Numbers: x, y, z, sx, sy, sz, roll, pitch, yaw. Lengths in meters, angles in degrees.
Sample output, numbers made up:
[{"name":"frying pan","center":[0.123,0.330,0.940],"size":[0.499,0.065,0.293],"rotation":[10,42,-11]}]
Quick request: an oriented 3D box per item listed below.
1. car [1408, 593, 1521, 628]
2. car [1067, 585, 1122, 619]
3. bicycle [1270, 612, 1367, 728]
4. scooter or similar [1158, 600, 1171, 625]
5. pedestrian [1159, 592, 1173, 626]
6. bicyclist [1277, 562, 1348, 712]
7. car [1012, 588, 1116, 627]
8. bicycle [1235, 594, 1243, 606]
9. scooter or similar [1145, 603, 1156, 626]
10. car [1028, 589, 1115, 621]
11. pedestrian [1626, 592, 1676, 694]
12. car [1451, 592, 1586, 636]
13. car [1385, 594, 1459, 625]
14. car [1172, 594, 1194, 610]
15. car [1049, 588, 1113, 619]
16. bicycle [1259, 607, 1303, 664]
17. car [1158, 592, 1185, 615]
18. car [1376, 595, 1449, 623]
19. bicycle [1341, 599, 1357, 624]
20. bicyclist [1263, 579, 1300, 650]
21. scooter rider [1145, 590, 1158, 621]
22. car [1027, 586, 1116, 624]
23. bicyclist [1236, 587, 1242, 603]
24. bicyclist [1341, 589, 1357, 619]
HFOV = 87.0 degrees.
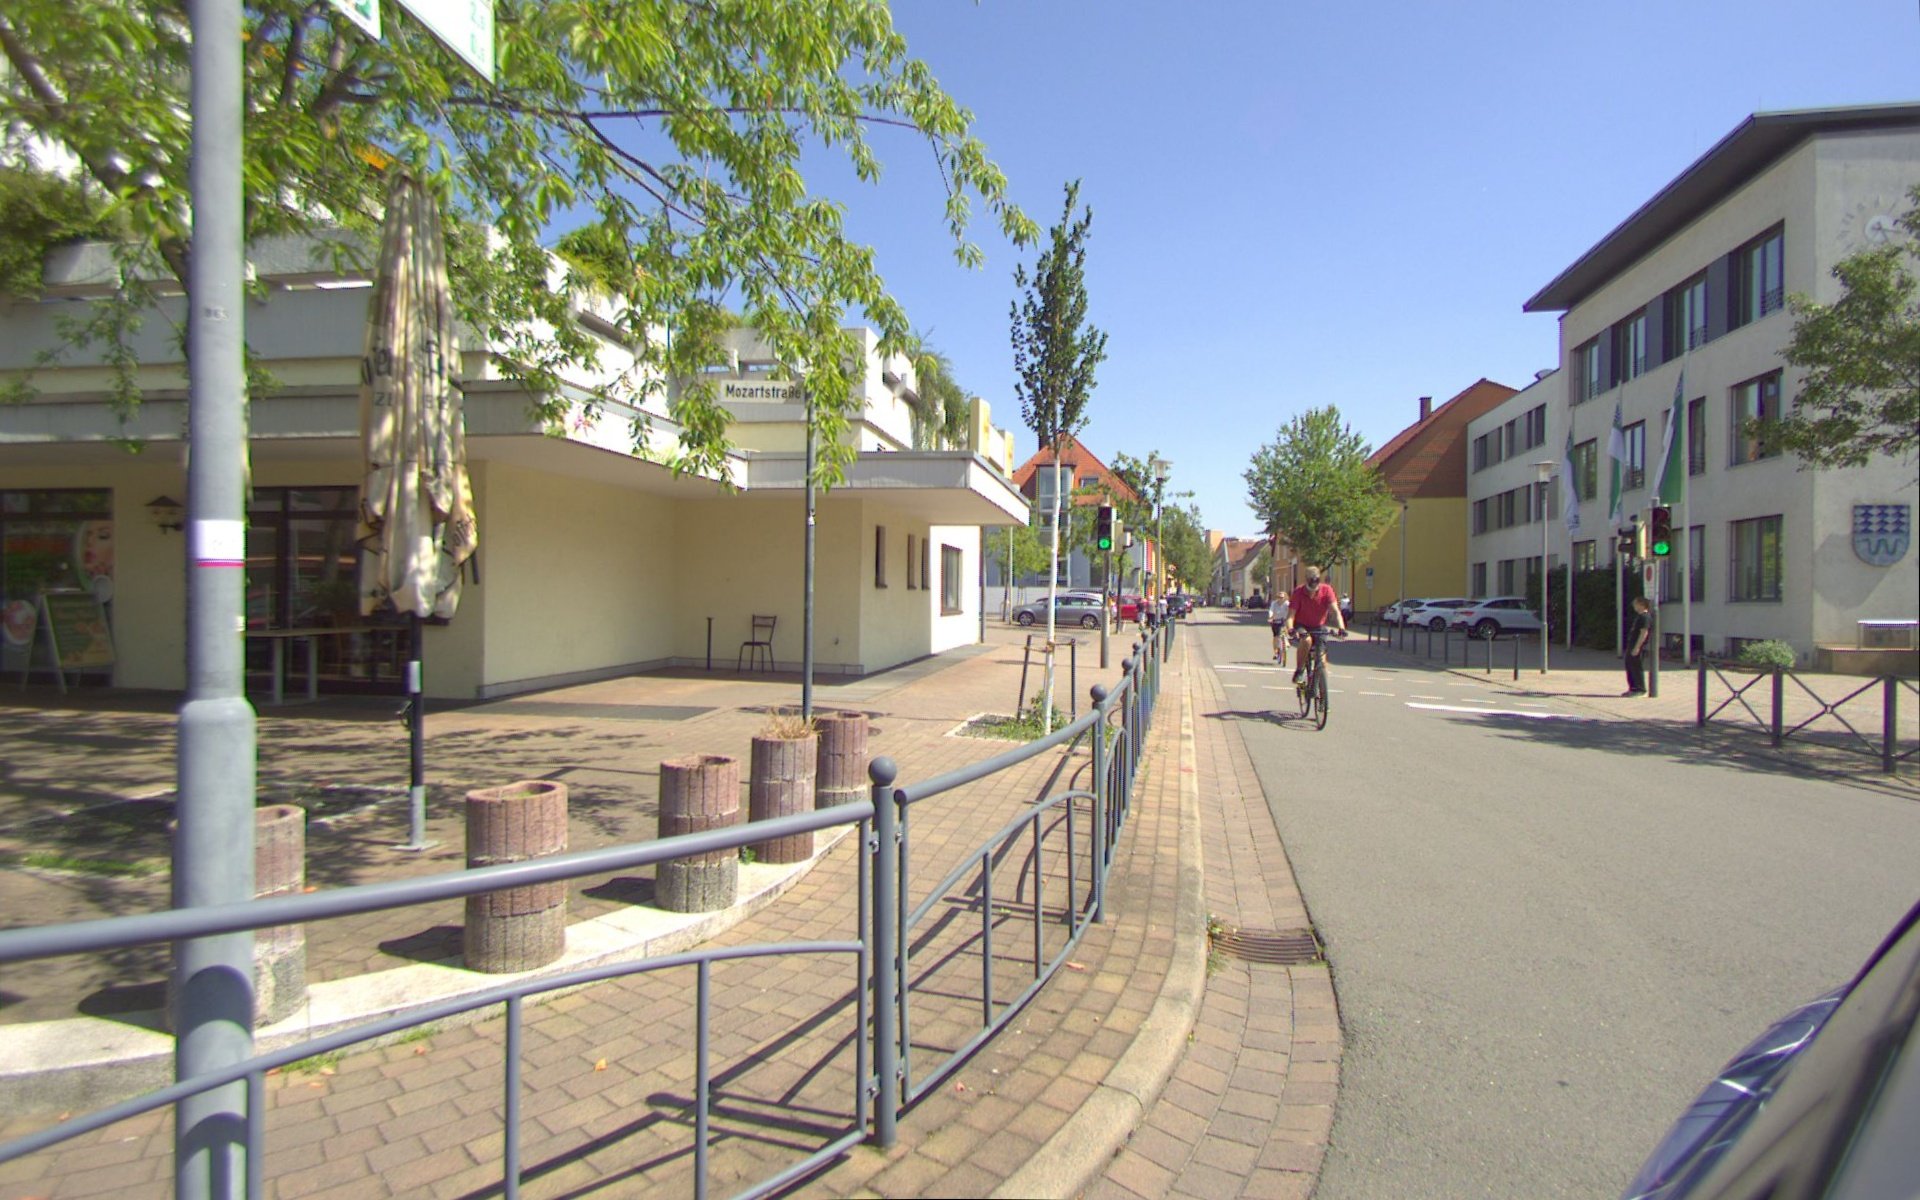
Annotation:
[{"name":"car","center":[22.425,0.463,45.117],"size":[4.263,1.497,1.507],"rotation":[-1,0,14]},{"name":"car","center":[7.513,0.089,56.550],"size":[2.991,1.759,1.342],"rotation":[2,0,8]},{"name":"bicycle","center":[4.234,0.778,12.098],"size":[0.726,1.204,1.965],"rotation":[2,0,9]},{"name":"scooter or similar","center":[9.597,0.597,47.555],"size":[0.497,1.132,0.907],"rotation":[2,0,7]},{"name":"pedestrian","center":[9.486,0.398,46.599],"size":[0.504,1.535,1.046],"rotation":[2,0,8]},{"name":"bicyclist","center":[4.218,0.424,12.162],"size":[0.692,1.738,0.757],"rotation":[0,1,11]},{"name":"car","center":[4.538,0.307,44.123],"size":[4.372,1.484,1.687],"rotation":[2,1,8]},{"name":"bicycle","center":[28.595,0.044,103.798],"size":[0.586,1.204,1.720],"rotation":[0,1,11]},{"name":"scooter or similar","center":[8.566,0.640,45.441],"size":[0.406,0.977,0.955],"rotation":[1,2,15]},{"name":"car","center":[5.739,0.240,52.330],"size":[4.370,1.460,1.654],"rotation":[2,0,6]},{"name":"pedestrian","center":[11.400,0.691,16.697],"size":[0.548,1.639,0.549],"rotation":[0,1,-42]},{"name":"car","center":[20.413,0.514,37.135],"size":[3.938,1.567,1.742],"rotation":[0,0,12]},{"name":"car","center":[22.922,0.462,50.323],"size":[3.095,1.468,1.635],"rotation":[0,0,14]},{"name":"car","center":[19.144,0.176,86.858],"size":[1.505,1.322,3.244],"rotation":[2,1,7]},{"name":"car","center":[6.545,0.183,54.592],"size":[3.376,1.571,1.487],"rotation":[1,0,9]},{"name":"bicycle","center":[7.300,0.787,23.092],"size":[0.679,1.204,1.795],"rotation":[2,1,9]},{"name":"car","center":[14.161,0.212,67.998],"size":[1.505,1.471,3.514],"rotation":[1,0,8]},{"name":"car","center":[23.442,0.467,52.462],"size":[3.210,1.419,1.369],"rotation":[0,0,12]},{"name":"bicycle","center":[20.179,0.580,52.545],"size":[0.702,1.267,1.958],"rotation":[3,1,20]},{"name":"bicyclist","center":[7.328,0.316,23.125],"size":[0.692,1.601,0.875],"rotation":[0,1,11]},{"name":"scooter rider","center":[8.595,0.245,45.443],"size":[0.456,1.341,1.128],"rotation":[1,0,14]},{"name":"car","center":[5.166,0.213,46.911],"size":[3.979,1.579,1.709],"rotation":[2,0,7]},{"name":"bicyclist","center":[28.633,-0.509,103.696],"size":[0.530,1.660,0.549],"rotation":[1,0,12]},{"name":"bicyclist","center":[20.245,0.210,52.623],"size":[0.707,1.525,0.865],"rotation":[1,0,19]}]
